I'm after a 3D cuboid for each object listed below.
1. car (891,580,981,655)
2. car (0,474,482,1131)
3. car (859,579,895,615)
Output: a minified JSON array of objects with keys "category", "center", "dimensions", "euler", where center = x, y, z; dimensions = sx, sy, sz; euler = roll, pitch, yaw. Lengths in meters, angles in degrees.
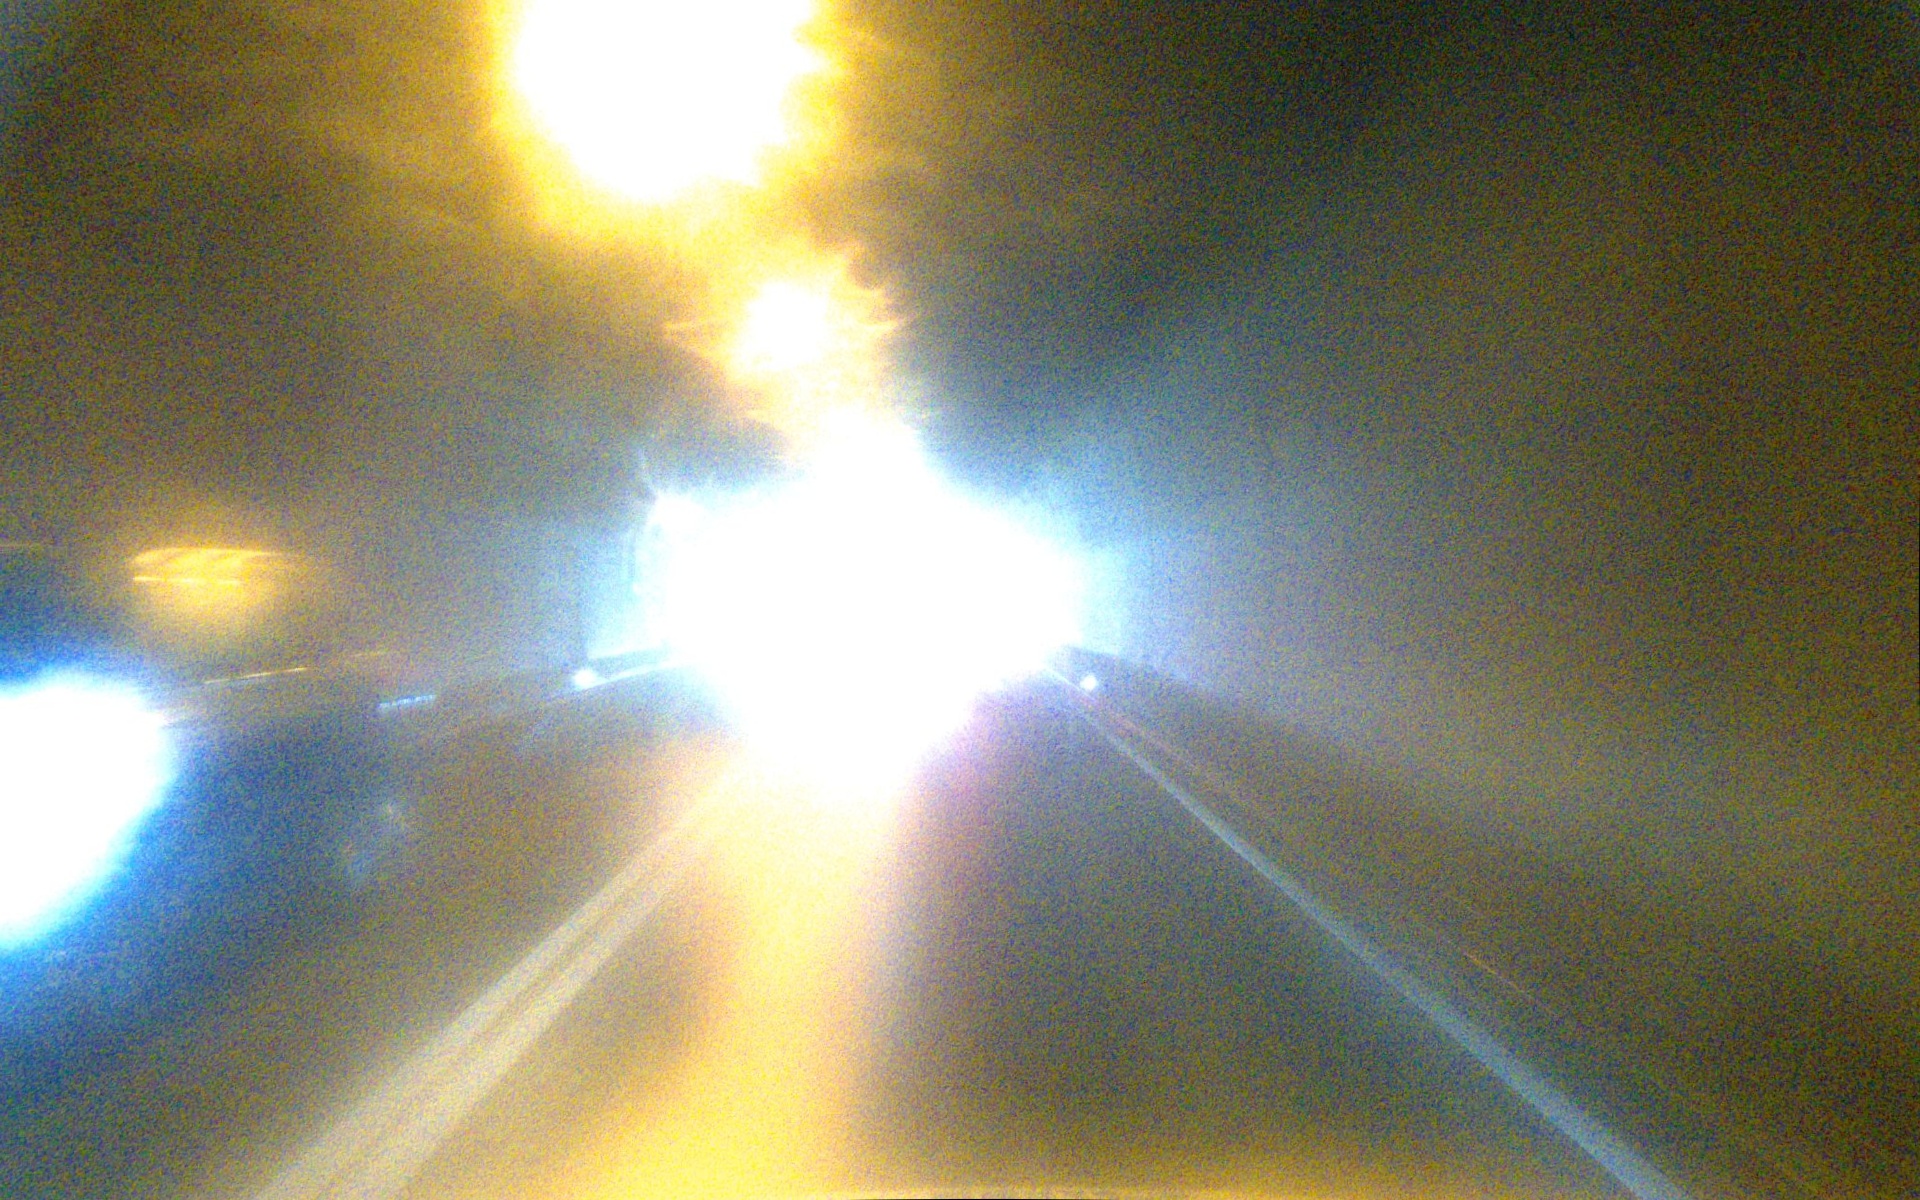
[{"category":"car","center":[-0.585,0.394,39.779],"dimensions":[2.047,1.691,3.999],"euler":[0,0,-1]},{"category":"car","center":[-3.455,0.508,6.492],"dimensions":[1.953,1.739,4.280],"euler":[1,0,-1]},{"category":"car","center":[-4.751,-0.189,95.418],"dimensions":[1.953,2.049,3.999],"euler":[0,0,-1]}]
